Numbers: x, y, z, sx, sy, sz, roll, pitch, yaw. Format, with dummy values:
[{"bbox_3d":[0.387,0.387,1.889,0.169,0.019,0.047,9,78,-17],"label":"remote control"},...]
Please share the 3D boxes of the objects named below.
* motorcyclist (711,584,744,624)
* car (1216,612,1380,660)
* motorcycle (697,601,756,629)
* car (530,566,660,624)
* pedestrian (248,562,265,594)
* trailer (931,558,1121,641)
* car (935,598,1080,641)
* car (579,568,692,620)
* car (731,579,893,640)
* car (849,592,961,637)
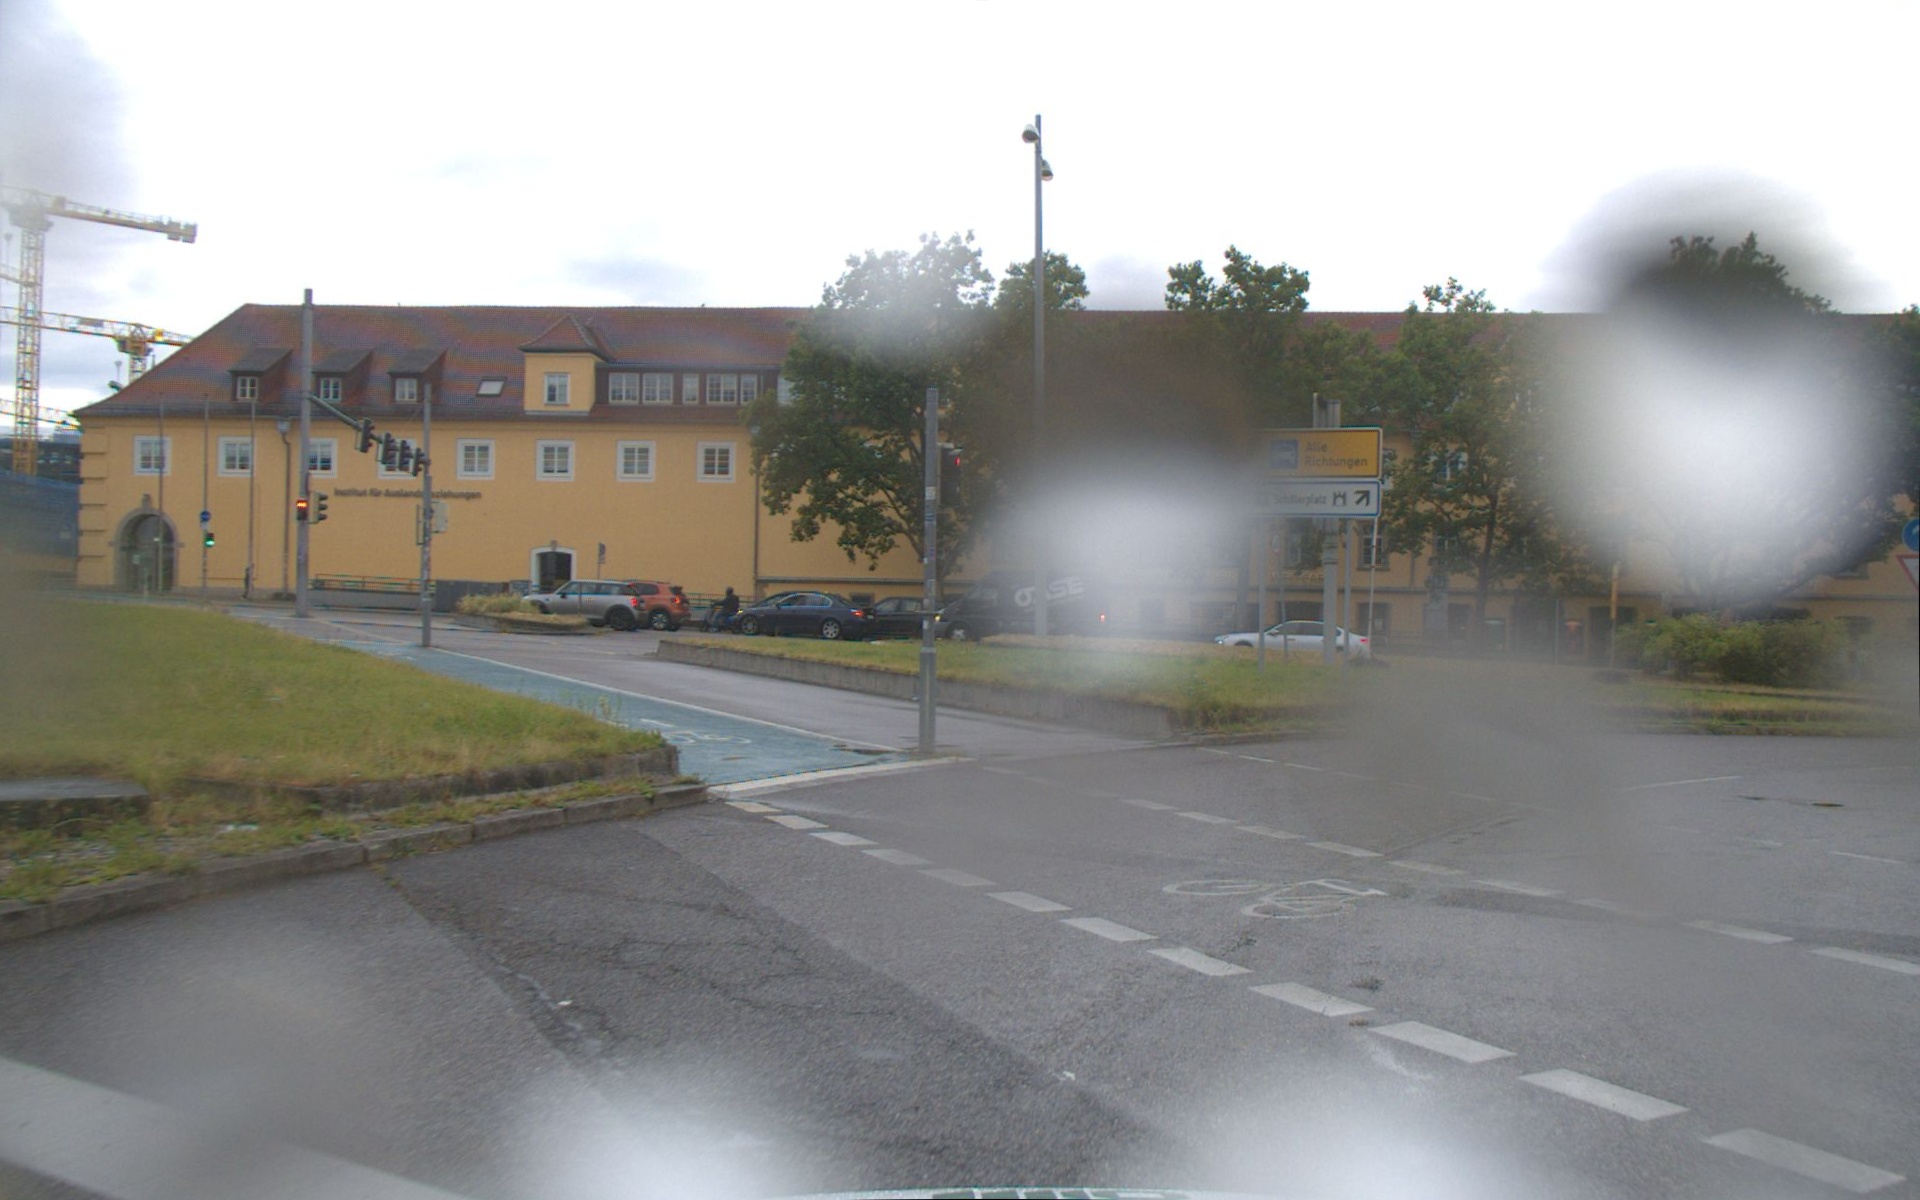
[{"bbox_3d":[-7.960,0.136,56.659,1.054,1.295,0.691,2,-2,-6],"label":"motorcyclist"},{"bbox_3d":[11.224,1.206,55.154,5.174,1.385,1.558,2,-2,5],"label":"car"},{"bbox_3d":[-8.004,0.512,56.703,1.925,0.867,0.545,2,-2,-5],"label":"motorcycle"},{"bbox_3d":[-10.567,-0.137,48.097,3.333,1.508,1.834,2,-2,-2],"label":"car"},{"bbox_3d":[-31.239,-0.979,73.471,0.445,1.392,0.444,2,-2,11],"label":"pedestrian"},{"bbox_3d":[1.939,0.014,47.988,5.343,2.297,2.001,-1,-2,7],"label":"trailer"},{"bbox_3d":[1.457,0.599,51.410,4.283,1.160,1.538,1,-2,30],"label":"car"},{"bbox_3d":[-10.514,-0.174,53.718,3.332,1.498,1.651,2,-2,-4],"label":"car"},{"bbox_3d":[-4.710,0.307,52.808,4.700,1.739,2.001,2,-2,15],"label":"car"},{"bbox_3d":[-1.858,0.509,56.174,3.519,1.360,1.579,2,-2,8],"label":"car"}]
